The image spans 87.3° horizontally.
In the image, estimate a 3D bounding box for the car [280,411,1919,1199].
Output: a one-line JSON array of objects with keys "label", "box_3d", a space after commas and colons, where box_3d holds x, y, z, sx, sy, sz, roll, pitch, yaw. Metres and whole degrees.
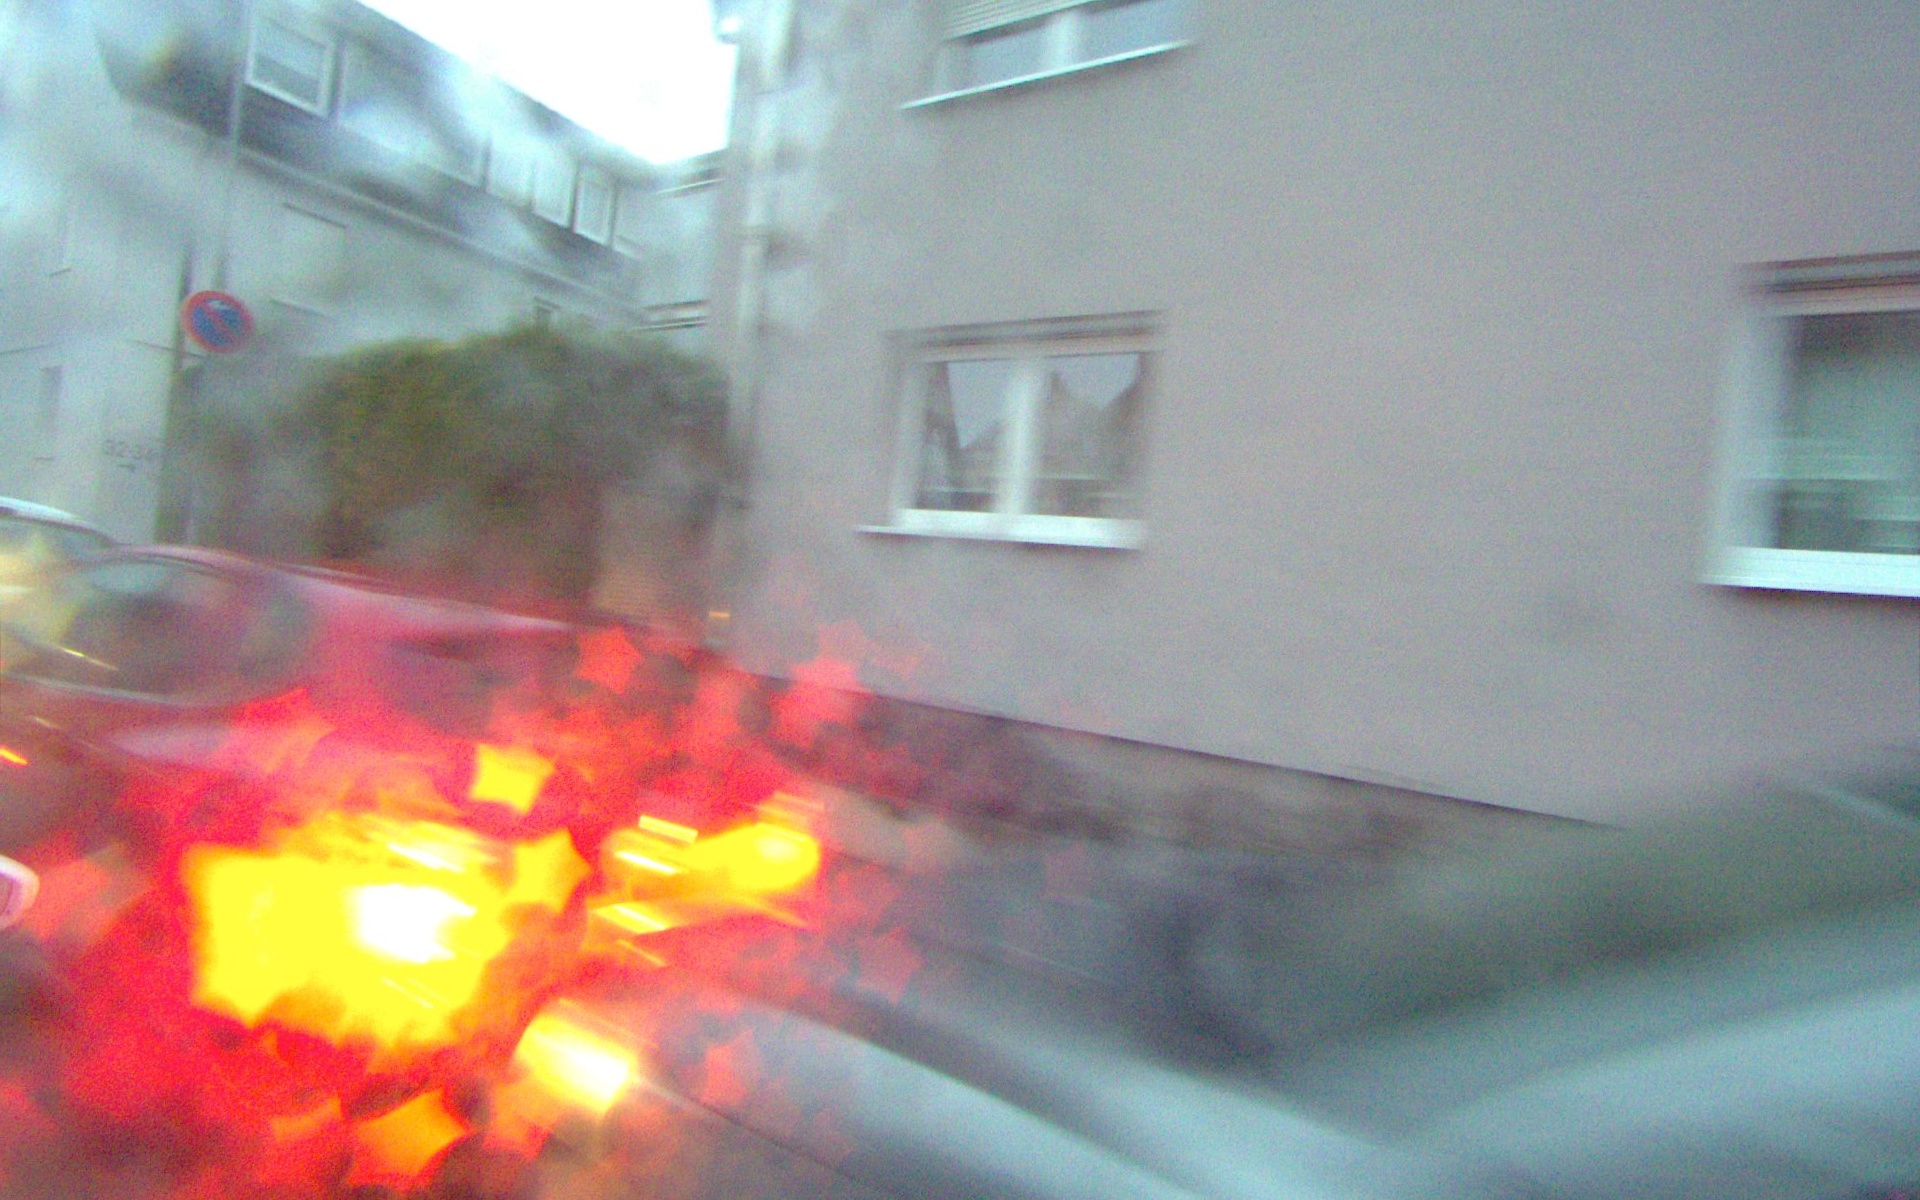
[{"label": "car", "box_3d": [1.266, 0.803, 1.060, 3.933, 1.552, 1.801, 7, -1, 31]}]

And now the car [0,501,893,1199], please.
[{"label": "car", "box_3d": [-2.285, 0.513, 3.465, 3.689, 1.412, 1.682, 7, -1, 32]}]

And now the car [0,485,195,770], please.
[{"label": "car", "box_3d": [-6.702, -0.035, 6.311, 3.689, 1.526, 1.727, 7, -1, 32]}]
